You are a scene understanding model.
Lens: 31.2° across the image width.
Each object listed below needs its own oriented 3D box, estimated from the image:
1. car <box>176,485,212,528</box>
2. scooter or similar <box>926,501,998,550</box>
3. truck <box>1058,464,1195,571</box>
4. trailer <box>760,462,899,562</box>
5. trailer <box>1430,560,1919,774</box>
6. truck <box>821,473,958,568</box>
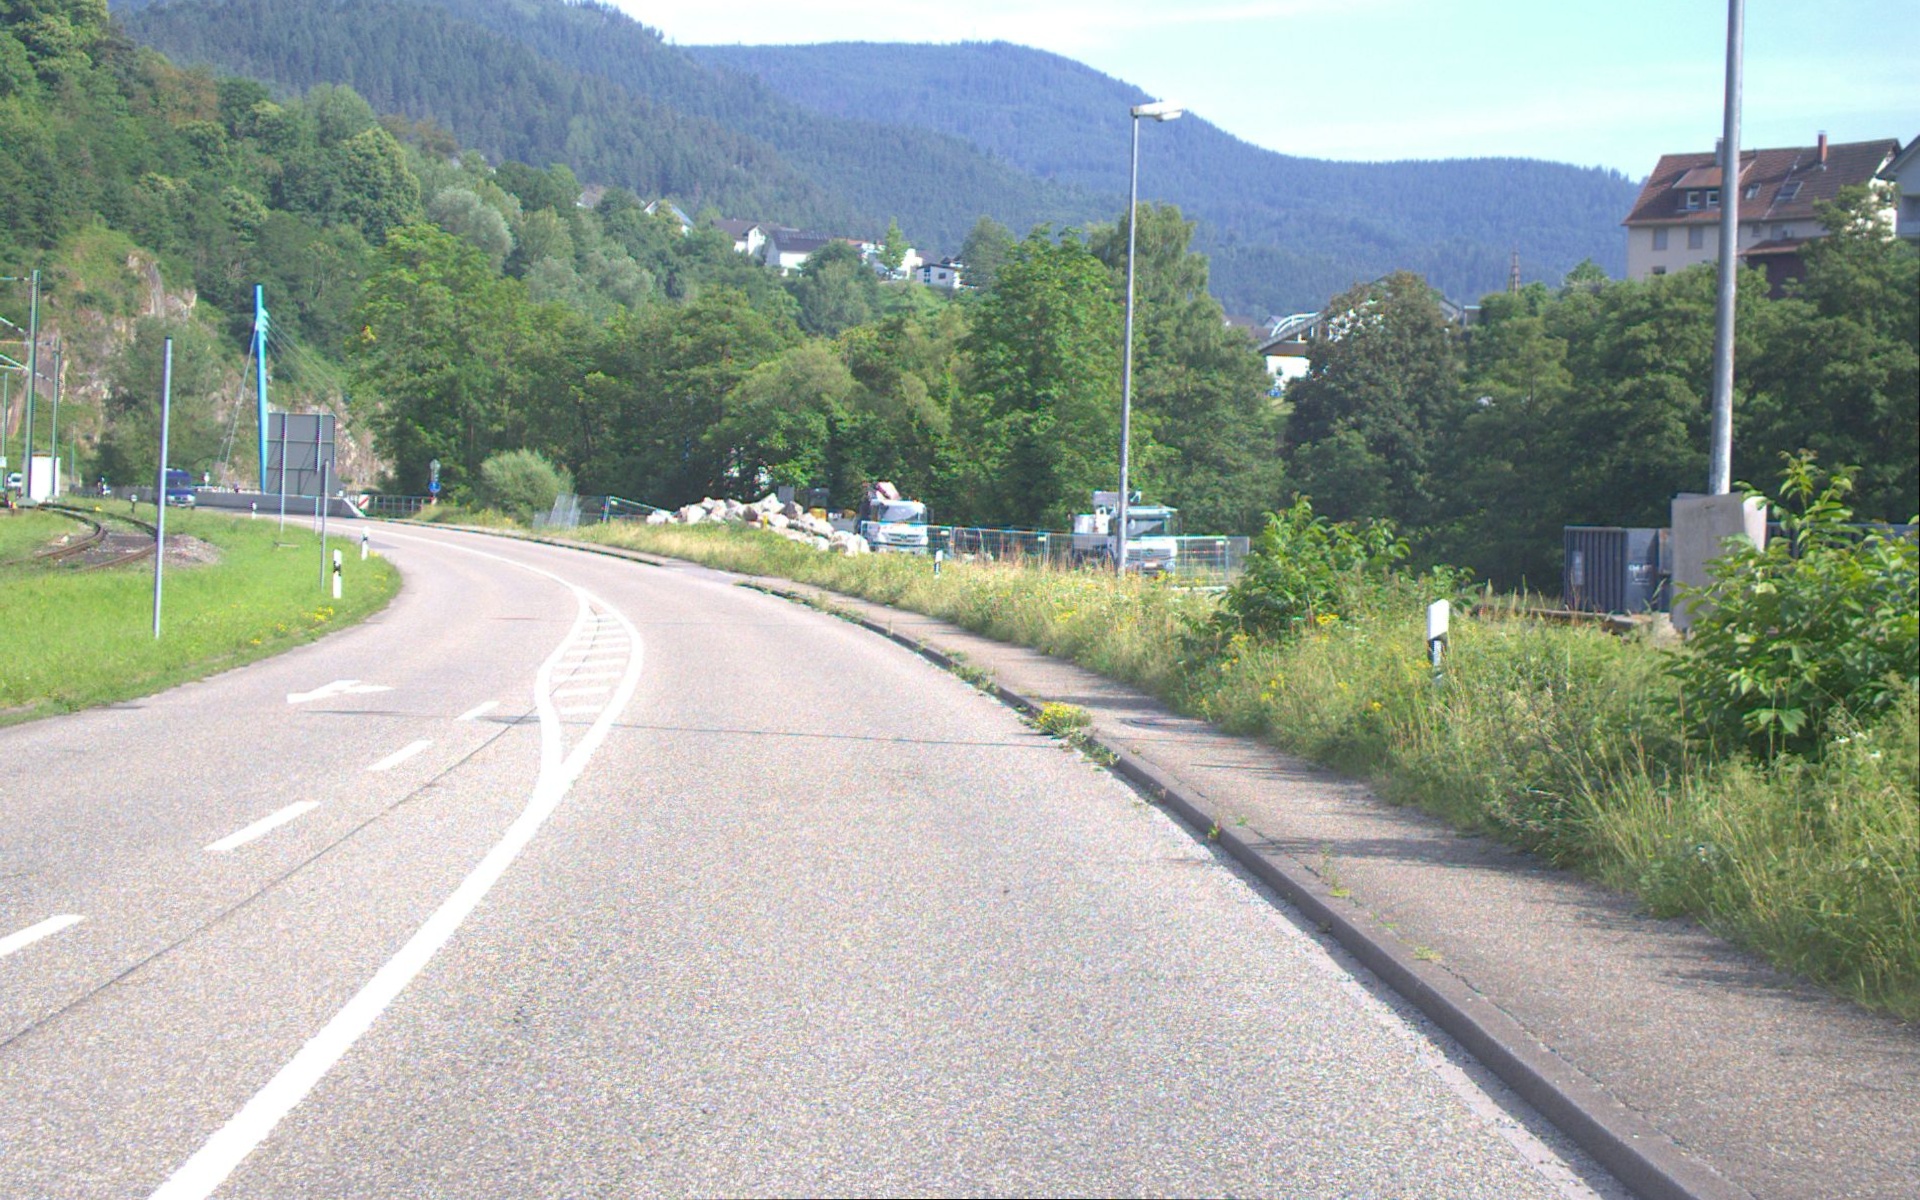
[{"bbox_3d":[-47.973,-5.845,215.145,2.126,2.606,5.481,0,2,-13],"label":"car"},{"bbox_3d":[0.071,-3.218,147.390,1.993,2.006,4.002,1,2,-16],"label":"scooter or similar"},{"bbox_3d":[6.261,-3.176,131.176,3.102,3.769,8.648,3,1,-11],"label":"truck"},{"bbox_3d":[-6.034,-4.024,156.484,3.364,4.259,9.912,3,1,-19],"label":"trailer"},{"bbox_3d":[7.027,0.529,33.147,2.791,1.469,9.889,4,1,-5],"label":"trailer"},{"bbox_3d":[-3.098,-3.482,147.716,3.102,3.769,8.648,3,1,-19],"label":"truck"}]
